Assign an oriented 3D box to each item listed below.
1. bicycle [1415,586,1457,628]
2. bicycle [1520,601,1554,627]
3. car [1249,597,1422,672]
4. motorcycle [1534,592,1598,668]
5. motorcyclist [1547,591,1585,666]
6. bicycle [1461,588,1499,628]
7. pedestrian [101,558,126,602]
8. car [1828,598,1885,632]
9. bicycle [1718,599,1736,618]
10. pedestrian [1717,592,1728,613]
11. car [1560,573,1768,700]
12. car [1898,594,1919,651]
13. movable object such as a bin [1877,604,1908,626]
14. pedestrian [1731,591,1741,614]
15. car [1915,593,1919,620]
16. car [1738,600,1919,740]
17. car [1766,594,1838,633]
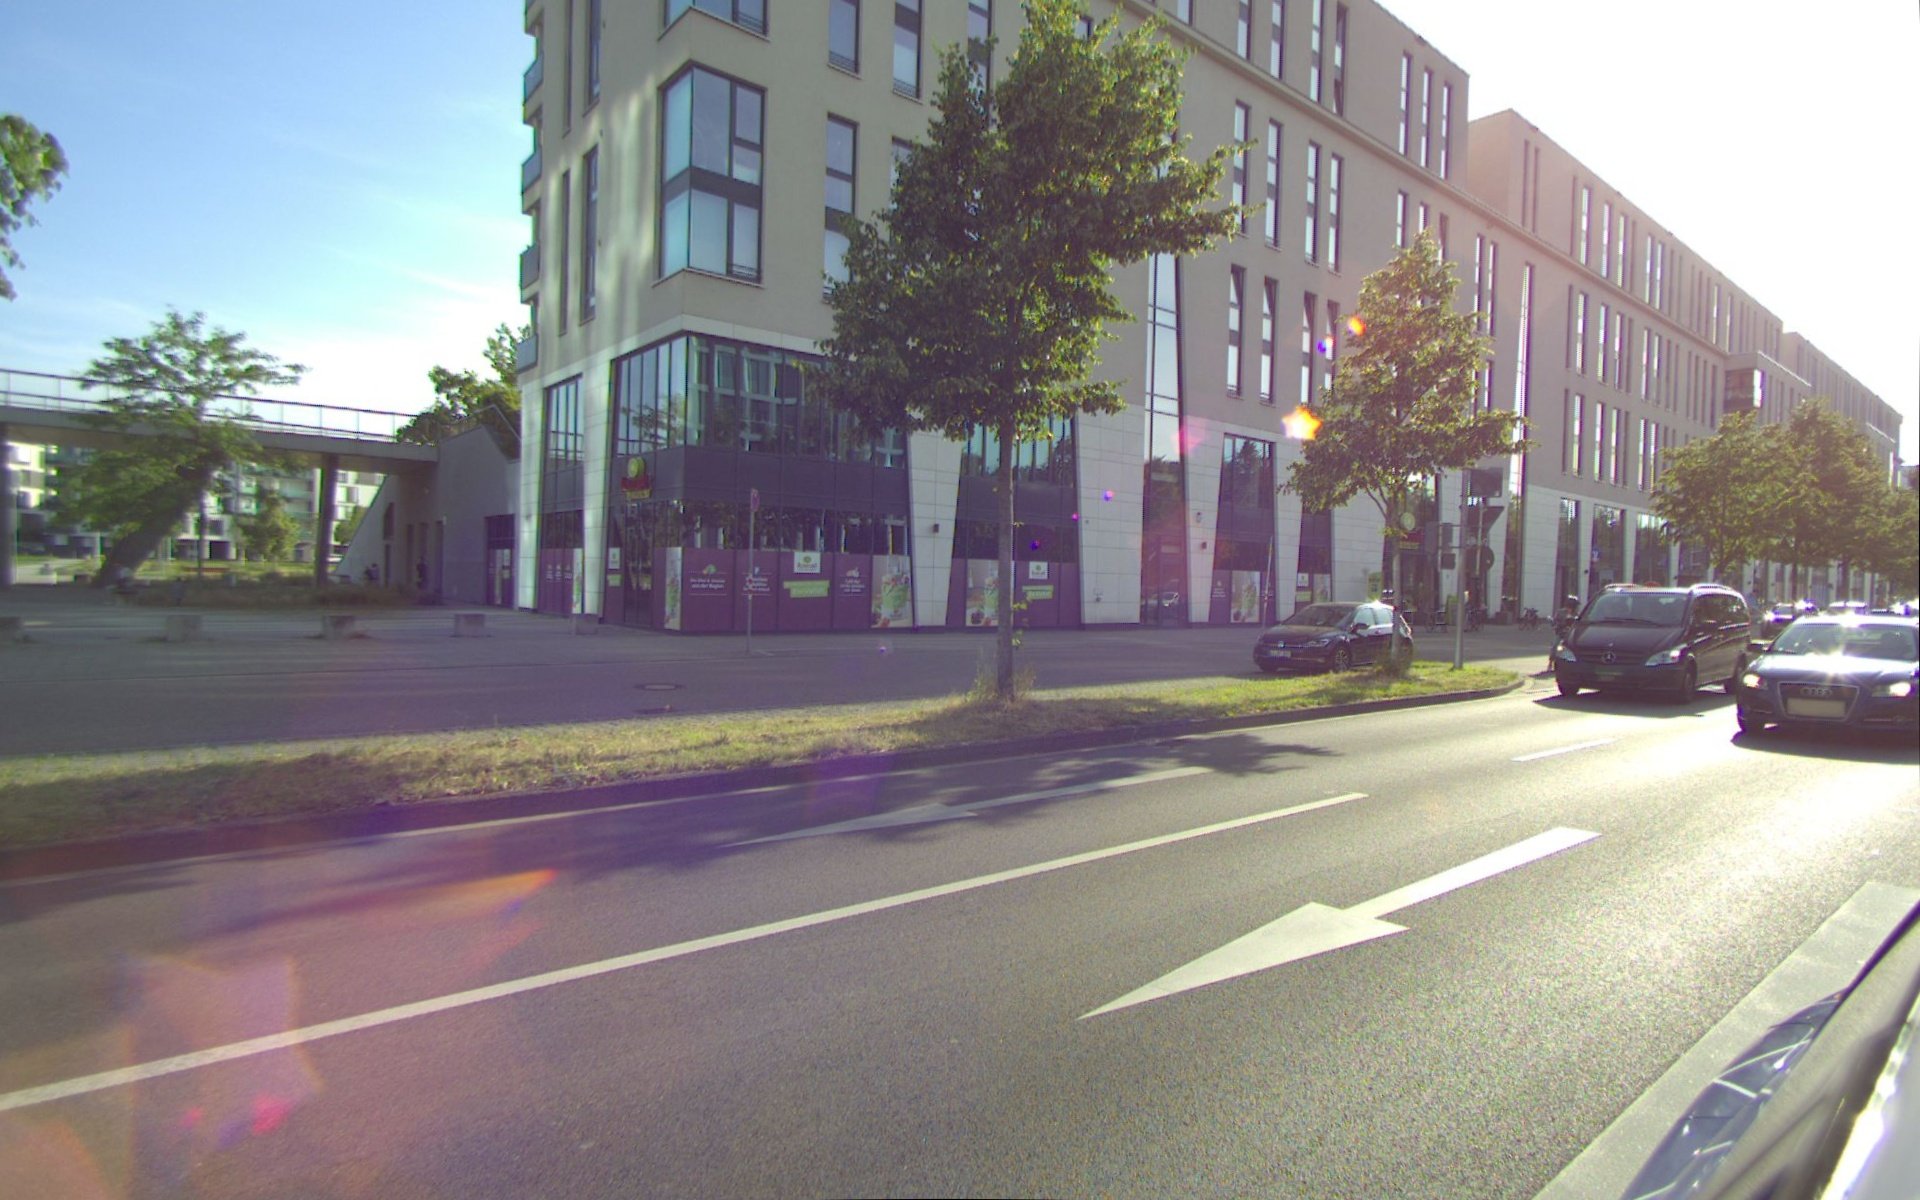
[{"bbox_3d":[18.456,0.239,39.181,2.235,1.590,0.556,-1,0,-39],"label":"bicycle"},{"bbox_3d":[25.721,0.604,45.118,1.870,1.097,0.635,0,2,-39],"label":"bicycle"},{"bbox_3d":[7.752,0.634,20.742,4.085,1.388,1.609,0,0,-42],"label":"car"},{"bbox_3d":[13.810,0.648,23.046,1.977,1.638,0.702,0,0,-42],"label":"motorcycle"},{"bbox_3d":[13.795,0.639,23.037,0.411,1.660,0.624,1,1,-43],"label":"motorcyclist"},{"bbox_3d":[21.176,0.315,41.182,2.173,1.587,0.556,-1,0,-39],"label":"bicycle"},{"bbox_3d":[-25.673,-0.597,30.702,0.571,1.310,0.597,0,0,-39],"label":"pedestrian"},{"bbox_3d":[48.550,0.777,54.760,4.222,1.733,1.830,0,0,-42],"label":"car"},{"bbox_3d":[48.201,0.516,63.599,1.910,1.130,0.493,0,2,-40],"label":"bicycle"},{"bbox_3d":[54.568,0.180,72.434,0.587,1.541,0.514,0,0,-40],"label":"pedestrian"},{"bbox_3d":[12.300,0.534,17.558,4.736,1.915,1.802,0,0,-40],"label":"car"},{"bbox_3d":[34.217,0.741,35.155,4.694,1.890,1.863,0,0,-40],"label":"car"},{"bbox_3d":[55.656,0.876,60.381,1.158,1.308,1.278,0,0,-43],"label":"movable object such as a bin"},{"bbox_3d":[55.169,0.178,71.920,0.536,1.594,0.508,0,0,36],"label":"pedestrian"},{"bbox_3d":[72.361,0.460,75.059,4.946,1.900,1.840,0,0,-43],"label":"car"},{"bbox_3d":[11.269,0.746,12.541,3.963,1.453,1.755,0,0,-40],"label":"car"},{"bbox_3d":[39.209,0.606,47.077,4.596,1.730,1.900,1,-1,-41],"label":"car"}]
